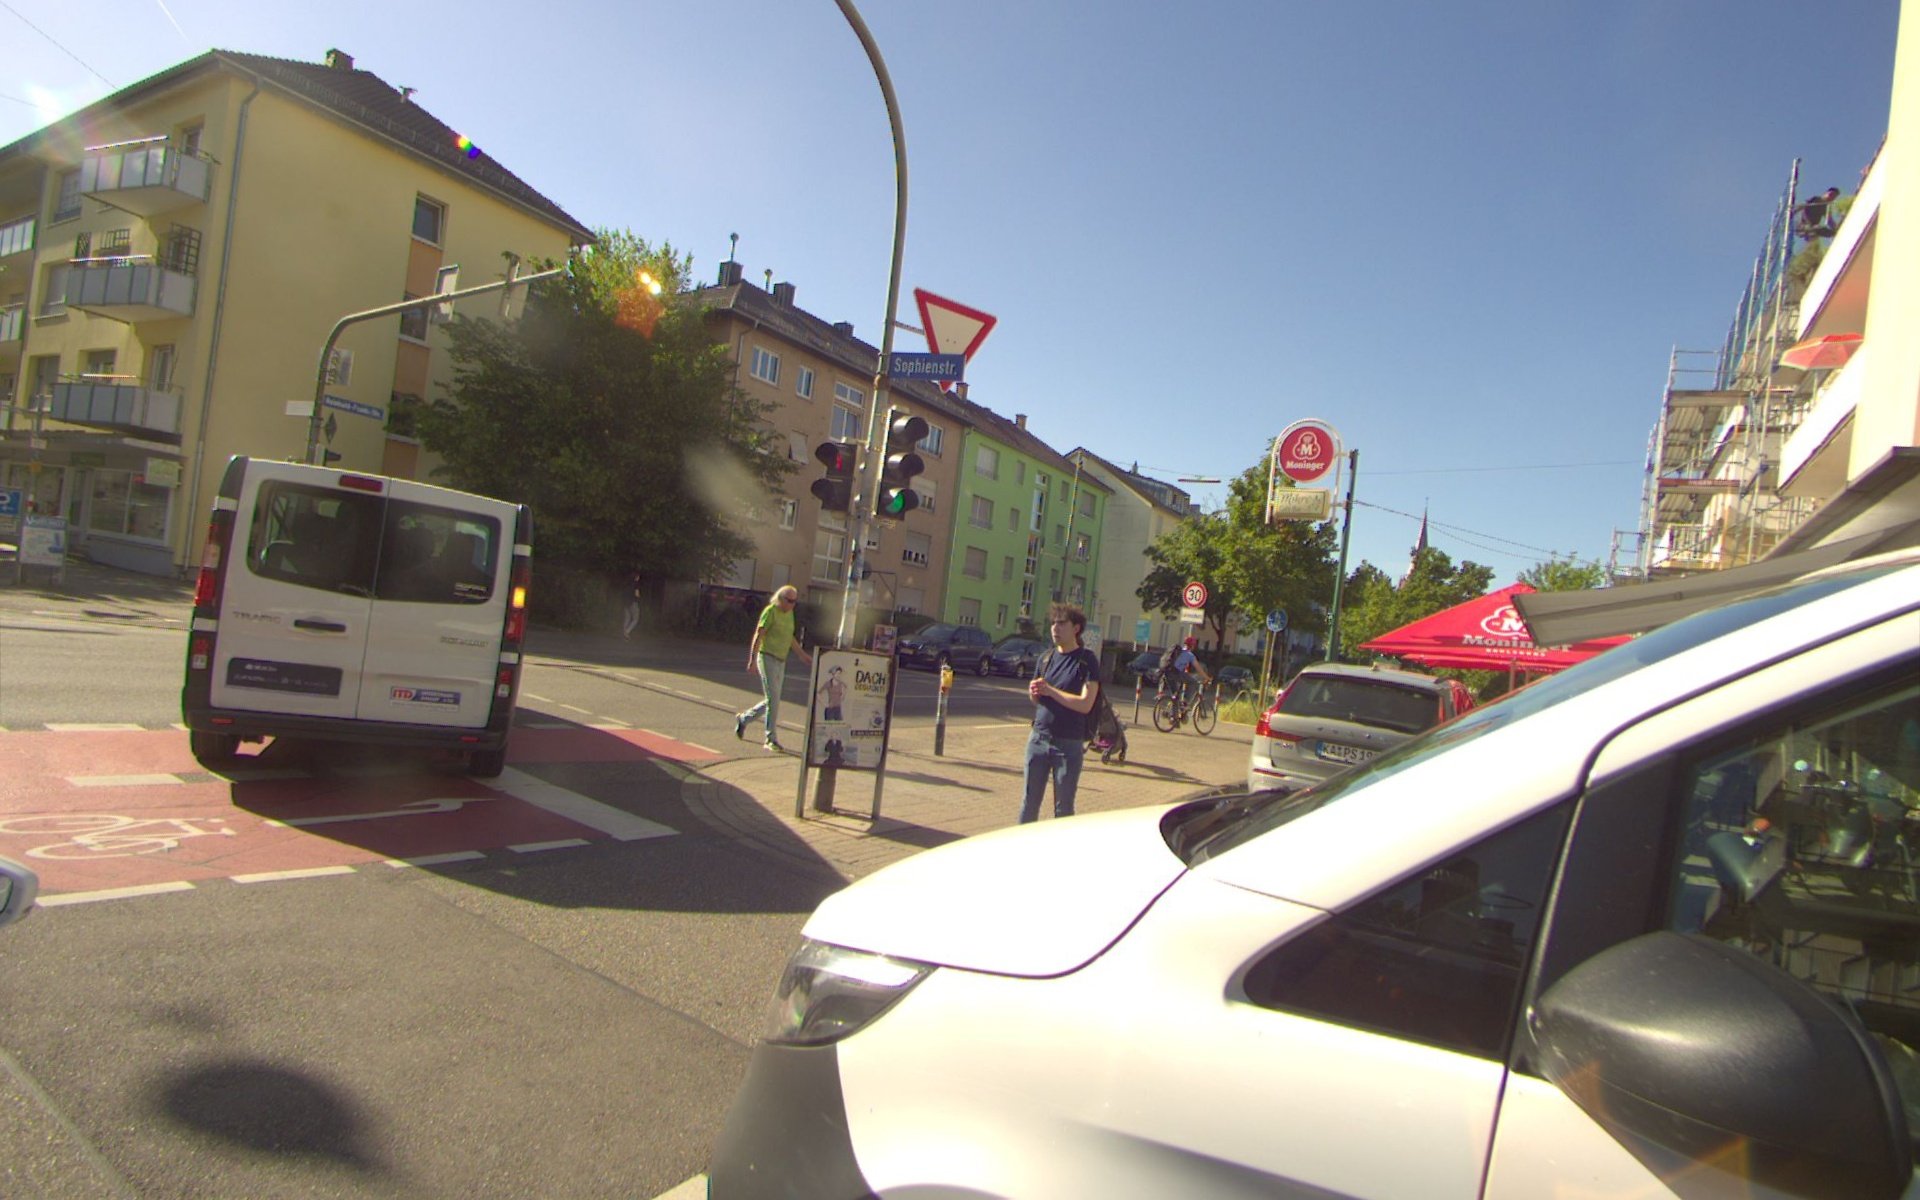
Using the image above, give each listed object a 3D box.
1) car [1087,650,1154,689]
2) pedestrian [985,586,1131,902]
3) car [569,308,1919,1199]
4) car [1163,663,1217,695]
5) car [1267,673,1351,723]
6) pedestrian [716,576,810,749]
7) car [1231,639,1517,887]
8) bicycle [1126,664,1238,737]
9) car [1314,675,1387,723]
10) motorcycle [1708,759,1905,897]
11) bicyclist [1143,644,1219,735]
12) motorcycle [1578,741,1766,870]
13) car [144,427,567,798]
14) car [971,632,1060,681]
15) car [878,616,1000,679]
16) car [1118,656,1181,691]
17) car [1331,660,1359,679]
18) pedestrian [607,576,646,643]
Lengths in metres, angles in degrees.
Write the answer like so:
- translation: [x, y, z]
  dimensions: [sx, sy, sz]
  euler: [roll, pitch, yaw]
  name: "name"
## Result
- translation: [7.379, 3.192, 46.000]
  dimensions: [1.658, 1.428, 3.517]
  euler: [7, -2, 32]
  name: "car"
- translation: [0.642, 0.887, 6.445]
  dimensions: [0.594, 1.844, 0.629]
  euler: [7, 0, 17]
  name: "pedestrian"
- translation: [1.925, 0.826, 1.293]
  dimensions: [4.752, 1.831, 1.972]
  euler: [6, -1, 31]
  name: "car"
- translation: [12.379, 4.255, 54.030]
  dimensions: [1.658, 1.352, 3.516]
  euler: [7, -2, 33]
  name: "car"
- translation: [11.594, 3.259, 33.256]
  dimensions: [1.686, 1.329, 3.994]
  euler: [7, -2, 32]
  name: "car"
- translation: [-2.148, 0.684, 10.993]
  dimensions: [0.613, 1.783, 0.526]
  euler: [7, 0, 30]
  name: "pedestrian"
- translation: [4.219, 1.450, 9.832]
  dimensions: [1.795, 1.682, 3.994]
  euler: [7, -2, 32]
  name: "car"
- translation: [4.397, 1.994, 19.887]
  dimensions: [2.115, 1.270, 0.798]
  euler: [6, -2, -31]
  name: "bicycle"
- translation: [14.514, 3.678, 37.263]
  dimensions: [1.686, 1.470, 3.994]
  euler: [7, -2, 32]
  name: "car"
- translation: [8.702, 2.345, 10.326]
  dimensions: [1.986, 1.180, 0.565]
  euler: [8, -1, -21]
  name: "motorcycle"
- translation: [4.364, 1.764, 19.870]
  dimensions: [1.113, 1.669, 0.798]
  euler: [6, -1, -31]
  name: "bicyclist"
- translation: [7.779, 2.249, 10.978]
  dimensions: [1.986, 1.180, 0.565]
  euler: [8, -1, -21]
  name: "motorcycle"
- translation: [-4.693, 0.107, 8.266]
  dimensions: [1.953, 1.961, 5.023]
  euler: [9, -3, -28]
  name: "car"
- translation: [2.107, 2.130, 37.439]
  dimensions: [1.658, 1.428, 3.517]
  euler: [7, -2, 32]
  name: "car"
- translation: [-0.610, 1.583, 32.861]
  dimensions: [1.967, 1.592, 3.993]
  euler: [7, -2, 32]
  name: "car"
- translation: [9.286, 3.622, 49.136]
  dimensions: [1.658, 1.352, 3.516]
  euler: [7, -2, 33]
  name: "car"
- translation: [35.619, 6.401, 93.017]
  dimensions: [1.657, 1.428, 3.518]
  euler: [7, -2, 31]
  name: "car"
- translation: [-8.328, 0.236, 25.129]
  dimensions: [0.530, 1.589, 0.540]
  euler: [7, 0, 32]
  name: "pedestrian"
